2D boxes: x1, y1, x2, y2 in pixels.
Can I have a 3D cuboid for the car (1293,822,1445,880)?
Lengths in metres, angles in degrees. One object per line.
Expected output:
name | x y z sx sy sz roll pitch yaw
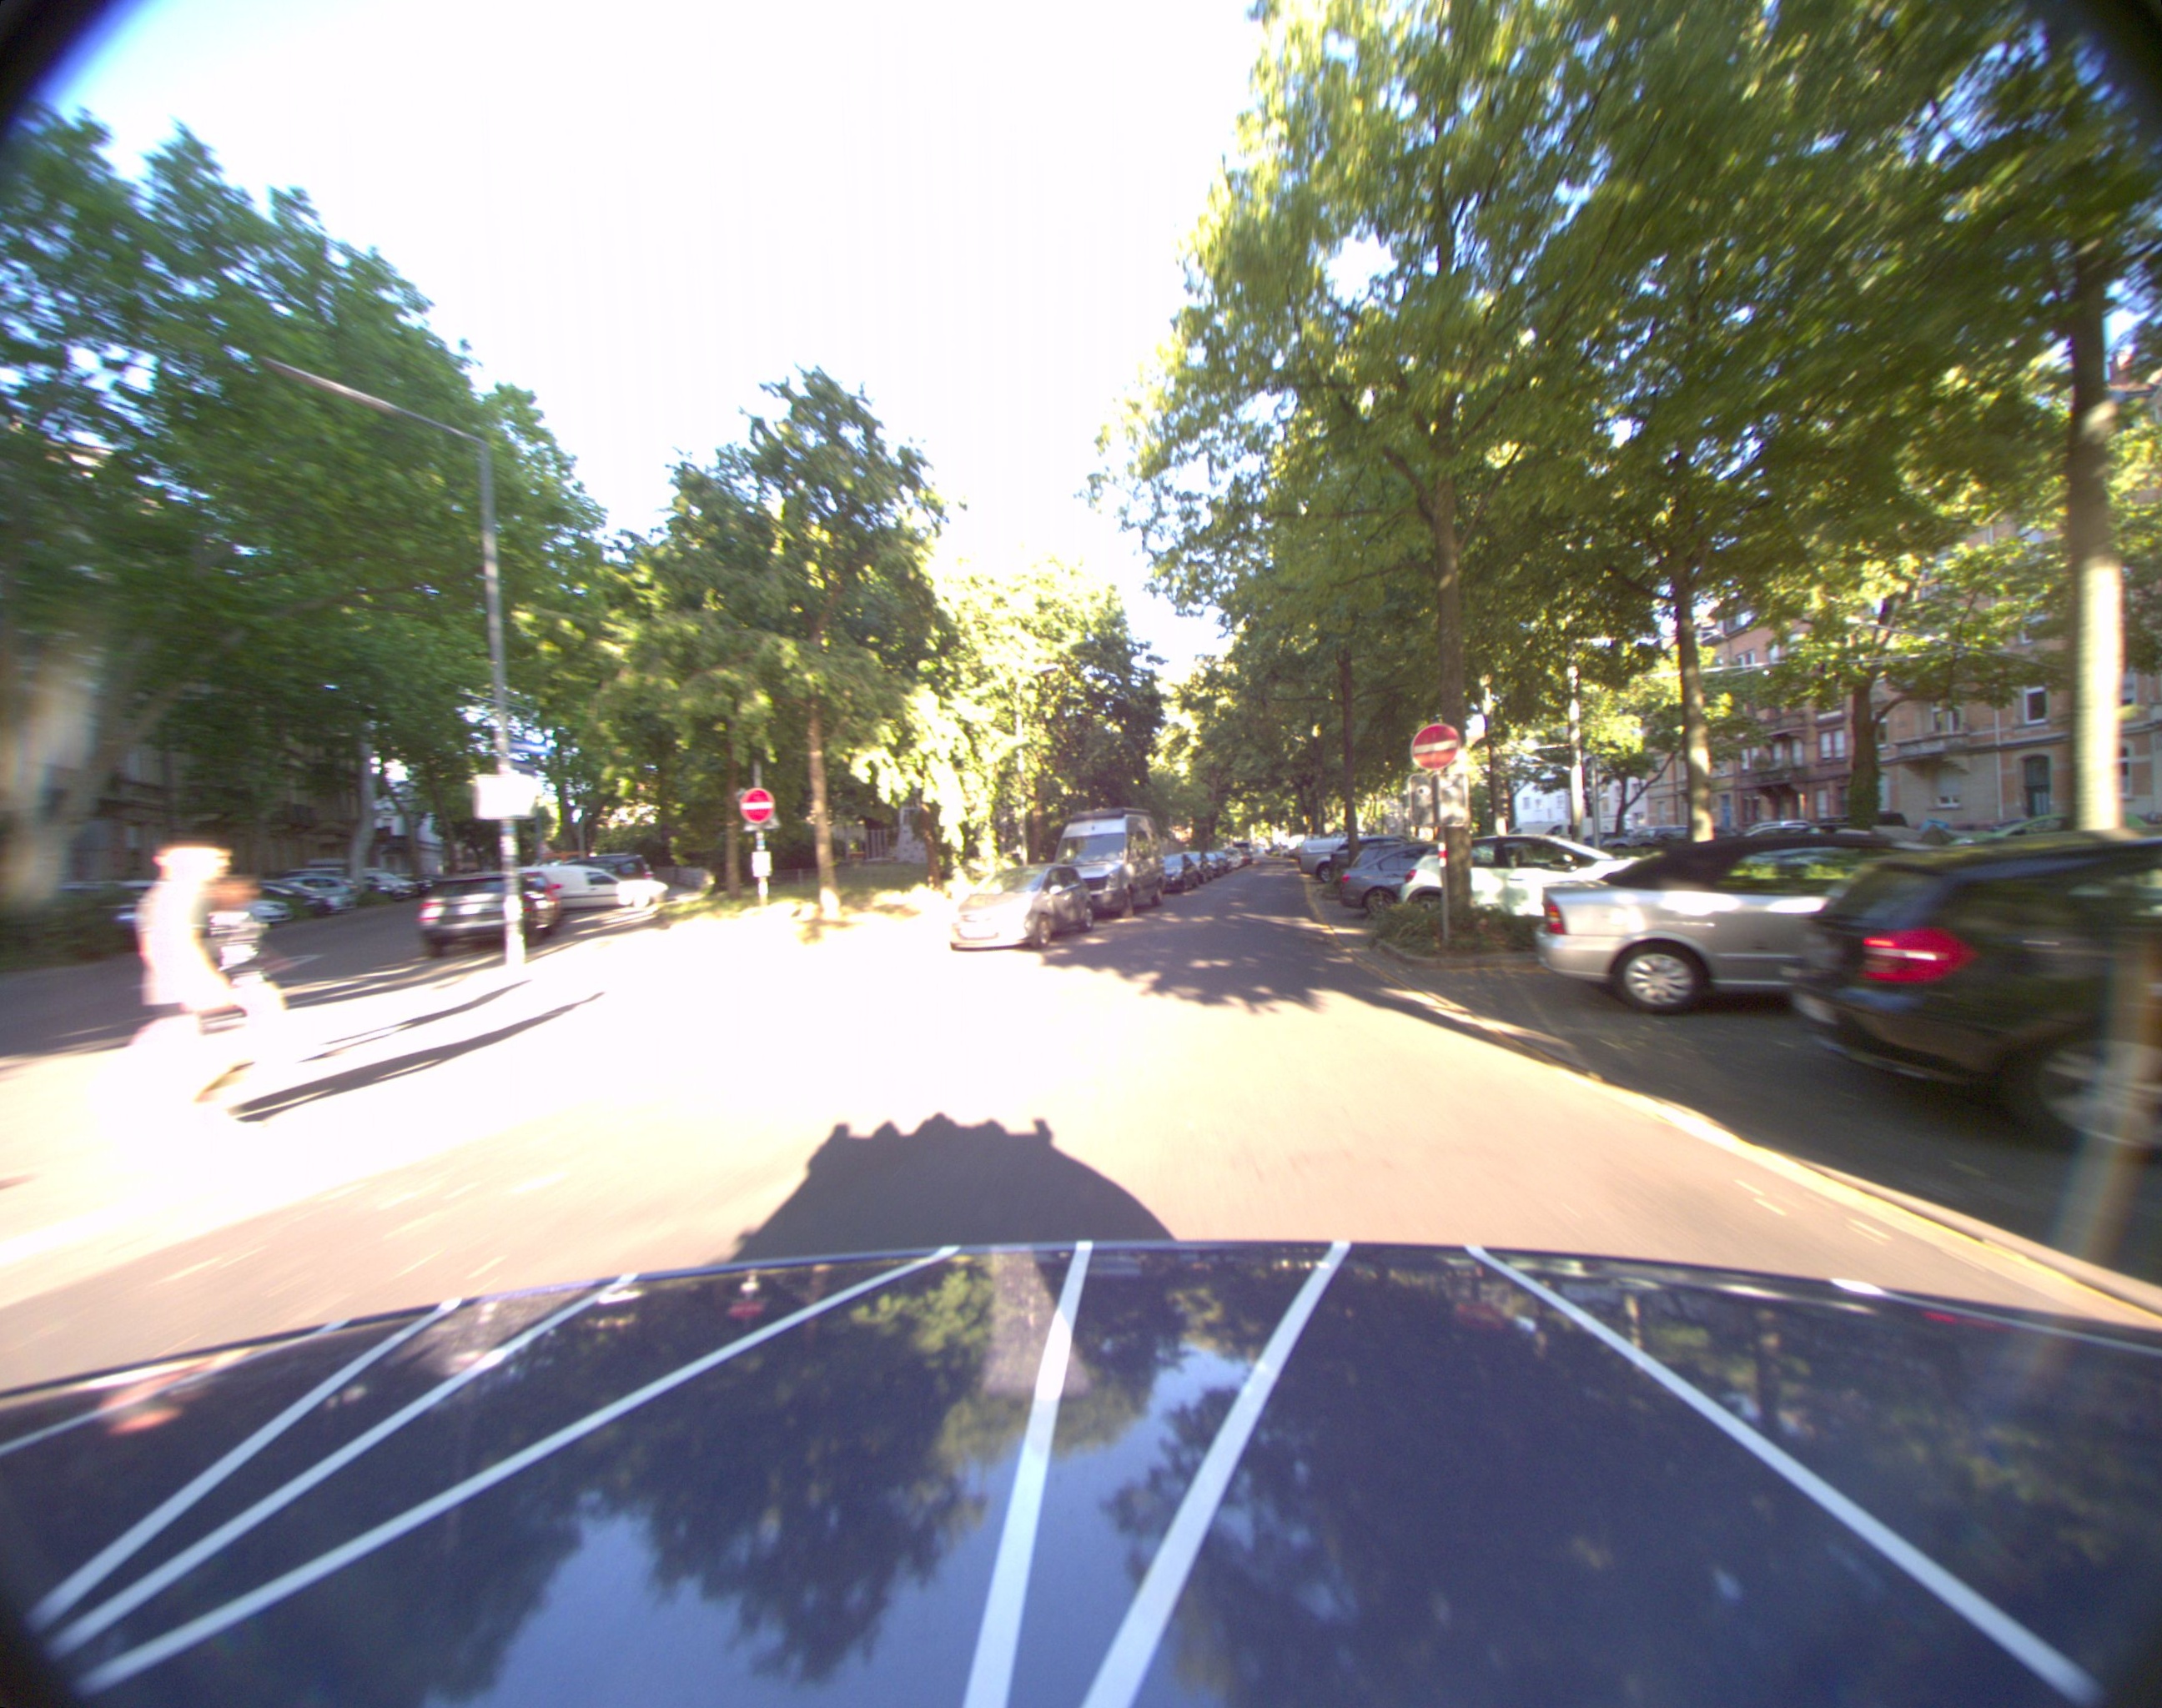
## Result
car | 11.008 -0.075 29.317 4.990 1.771 1.991 -6 0 43

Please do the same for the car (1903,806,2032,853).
car | 38.606 -1.031 33.236 1.854 1.772 3.511 -5 -1 13

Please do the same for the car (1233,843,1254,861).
car | 14.149 -0.170 66.060 1.675 1.445 3.952 -3 1 14

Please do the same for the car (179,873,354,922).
car | -32.113 1.666 30.186 4.492 1.621 1.730 -1 1 -38

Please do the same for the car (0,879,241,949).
car | -26.498 1.577 20.766 4.492 1.621 1.730 -1 0 -38

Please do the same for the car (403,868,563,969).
car | -11.997 1.174 15.560 1.744 1.543 4.266 -7 3 -29

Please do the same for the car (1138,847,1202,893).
car | 3.509 0.550 29.257 1.683 1.517 4.494 -3 1 16

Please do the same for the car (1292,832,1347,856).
car | 24.729 -1.005 78.887 4.874 1.966 2.048 -5 0 43

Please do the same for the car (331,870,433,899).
car | -43.095 1.834 47.009 4.492 1.621 1.730 -1 0 -38

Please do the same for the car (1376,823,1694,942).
car | 6.931 0.484 11.812 3.875 1.485 1.835 -6 0 42

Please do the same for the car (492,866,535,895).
car | -31.978 1.476 42.924 1.610 1.459 3.990 -2 1 -32

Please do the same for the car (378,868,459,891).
car | -50.272 1.911 57.758 4.492 1.621 1.730 -1 0 -38

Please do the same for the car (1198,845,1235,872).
car | 8.204 0.238 45.610 1.683 1.415 4.663 -3 1 16

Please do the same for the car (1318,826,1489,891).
car | 9.905 0.170 23.511 4.347 1.617 1.945 -6 0 43

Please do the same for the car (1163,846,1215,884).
car | 4.925 0.458 34.320 1.683 1.517 4.292 -3 1 16

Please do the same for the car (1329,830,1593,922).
car | 7.295 0.468 14.824 4.190 1.430 1.835 -6 0 40

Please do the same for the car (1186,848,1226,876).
car | 6.651 0.388 40.012 1.683 1.276 4.291 -3 1 14

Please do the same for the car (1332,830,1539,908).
car | 8.093 0.372 17.493 3.863 1.430 1.835 -6 0 40

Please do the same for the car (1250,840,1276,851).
car | 35.319 -1.643 147.359 4.433 1.613 1.637 -6 1 31

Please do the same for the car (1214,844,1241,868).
car | 9.896 0.112 51.349 1.683 1.445 4.079 -3 1 11

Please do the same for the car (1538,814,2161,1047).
car | 6.037 0.577 6.092 3.976 1.357 1.777 -5 0 31

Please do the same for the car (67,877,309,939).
car | -27.230 1.585 23.395 4.489 1.621 1.731 -1 0 -24

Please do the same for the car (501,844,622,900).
car | -25.128 0.822 36.885 4.648 2.399 1.603 -3 1 -35

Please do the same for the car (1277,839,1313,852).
car | 29.000 -1.189 102.984 4.303 1.396 1.747 -5 -1 37

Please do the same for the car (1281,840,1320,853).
car | 28.878 -0.979 100.011 4.455 1.396 1.860 -6 -1 40

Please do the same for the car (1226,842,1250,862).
car | 12.624 -0.194 61.018 1.593 1.445 3.558 -3 1 15

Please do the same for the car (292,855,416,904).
car | -38.948 1.319 40.880 4.600 2.487 1.730 -1 0 -38

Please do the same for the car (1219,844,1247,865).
car | 11.229 0.010 55.972 1.683 1.445 4.080 -3 1 15

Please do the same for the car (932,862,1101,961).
car | -1.052 0.989 14.465 1.683 1.438 3.876 -5 0 19

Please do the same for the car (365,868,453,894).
car | -47.219 1.877 53.536 4.492 1.621 1.730 -1 0 -38

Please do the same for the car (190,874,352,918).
car | -34.438 1.747 32.528 4.492 1.621 1.730 -1 0 -38

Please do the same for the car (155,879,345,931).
car | -30.452 1.816 28.077 4.492 1.621 1.730 -1 0 -38

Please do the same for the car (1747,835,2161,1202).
car | 5.788 0.619 3.299 4.030 1.398 1.777 -4 1 30
